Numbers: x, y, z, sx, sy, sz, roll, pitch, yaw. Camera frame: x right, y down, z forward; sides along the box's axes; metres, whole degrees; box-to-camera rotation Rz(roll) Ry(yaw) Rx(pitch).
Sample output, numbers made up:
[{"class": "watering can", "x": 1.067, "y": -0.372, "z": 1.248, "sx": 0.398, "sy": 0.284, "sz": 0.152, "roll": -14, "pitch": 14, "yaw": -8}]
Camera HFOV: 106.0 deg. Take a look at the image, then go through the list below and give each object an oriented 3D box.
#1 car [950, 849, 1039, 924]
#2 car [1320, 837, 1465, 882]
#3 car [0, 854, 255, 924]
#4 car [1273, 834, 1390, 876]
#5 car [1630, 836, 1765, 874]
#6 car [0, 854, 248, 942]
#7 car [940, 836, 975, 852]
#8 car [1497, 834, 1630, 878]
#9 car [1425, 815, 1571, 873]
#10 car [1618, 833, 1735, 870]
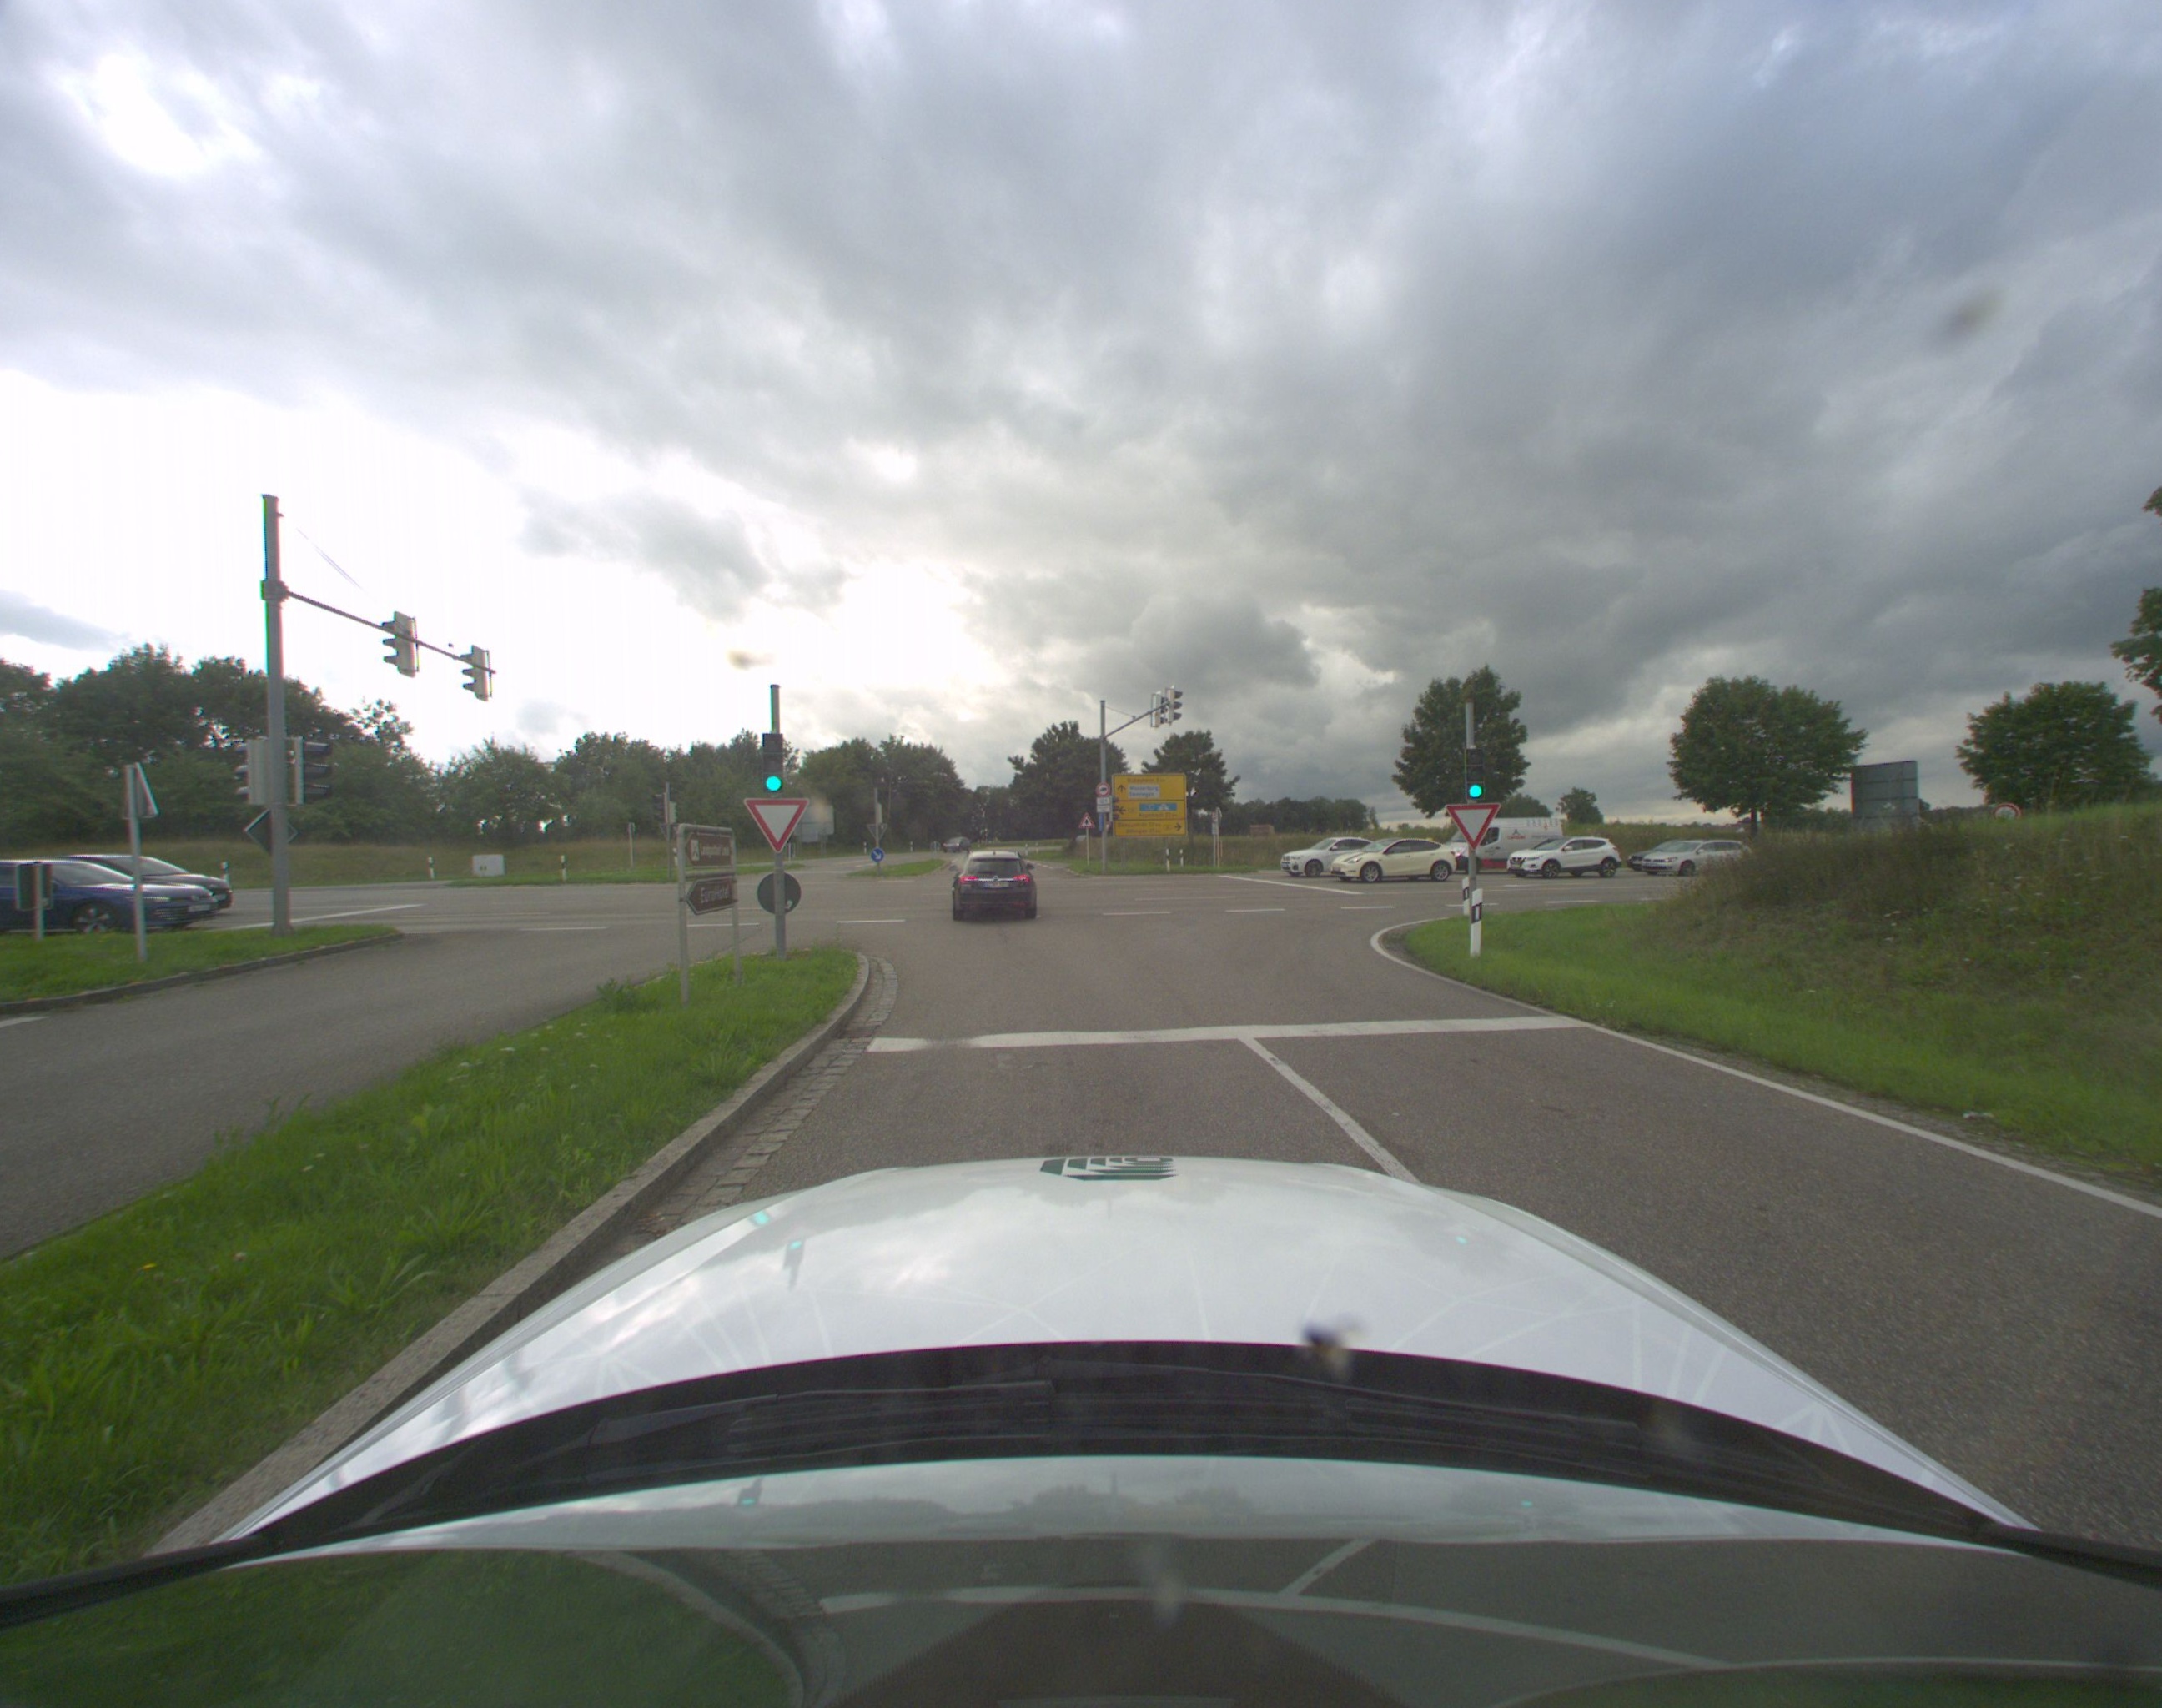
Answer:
[{"class": "car", "x": -2.031, "y": 0.654, "z": 18.819, "sx": 1.806, "sy": 1.450, "sz": 4.262, "roll": -1, "pitch": 1, "yaw": -7}, {"class": "car", "x": 11.602, "y": 0.196, "z": 30.460, "sx": 4.736, "sy": 1.565, "sz": 1.992, "roll": -1, "pitch": 0, "yaw": -12}, {"class": "car", "x": -22.349, "y": 0.770, "z": 19.022, "sx": 3.933, "sy": 1.443, "sz": 1.725, "roll": -1, "pitch": 1, "yaw": -12}, {"class": "car", "x": 10.481, "y": 0.030, "z": 34.218, "sx": 4.264, "sy": 1.629, "sz": 1.992, "roll": -1, "pitch": 0, "yaw": -12}, {"class": "car", "x": 25.362, "y": 0.020, "z": 33.563, "sx": 4.569, "sy": 1.454, "sz": 1.992, "roll": -1, "pitch": 1, "yaw": -12}, {"class": "car", "x": -20.117, "y": 0.819, "z": 15.836, "sx": 5.117, "sy": 1.535, "sz": 2.042, "roll": -1, "pitch": 1, "yaw": -14}, {"class": "car", "x": -11.883, "y": -0.953, "z": 78.752, "sx": 1.980, "sy": 1.535, "sz": 4.013, "roll": -1, "pitch": 0, "yaw": 12}, {"class": "car", "x": 19.057, "y": 0.058, "z": 32.228, "sx": 4.311, "sy": 1.629, "sz": 1.992, "roll": -1, "pitch": 0, "yaw": -12}, {"class": "car", "x": 18.528, "y": -0.436, "z": 36.286, "sx": 5.497, "sy": 2.442, "sz": 2.389, "roll": -1, "pitch": 0, "yaw": -11}, {"class": "car", "x": 27.182, "y": -0.119, "z": 37.248, "sx": 4.263, "sy": 1.629, "sz": 1.992, "roll": -1, "pitch": 0, "yaw": -12}]
